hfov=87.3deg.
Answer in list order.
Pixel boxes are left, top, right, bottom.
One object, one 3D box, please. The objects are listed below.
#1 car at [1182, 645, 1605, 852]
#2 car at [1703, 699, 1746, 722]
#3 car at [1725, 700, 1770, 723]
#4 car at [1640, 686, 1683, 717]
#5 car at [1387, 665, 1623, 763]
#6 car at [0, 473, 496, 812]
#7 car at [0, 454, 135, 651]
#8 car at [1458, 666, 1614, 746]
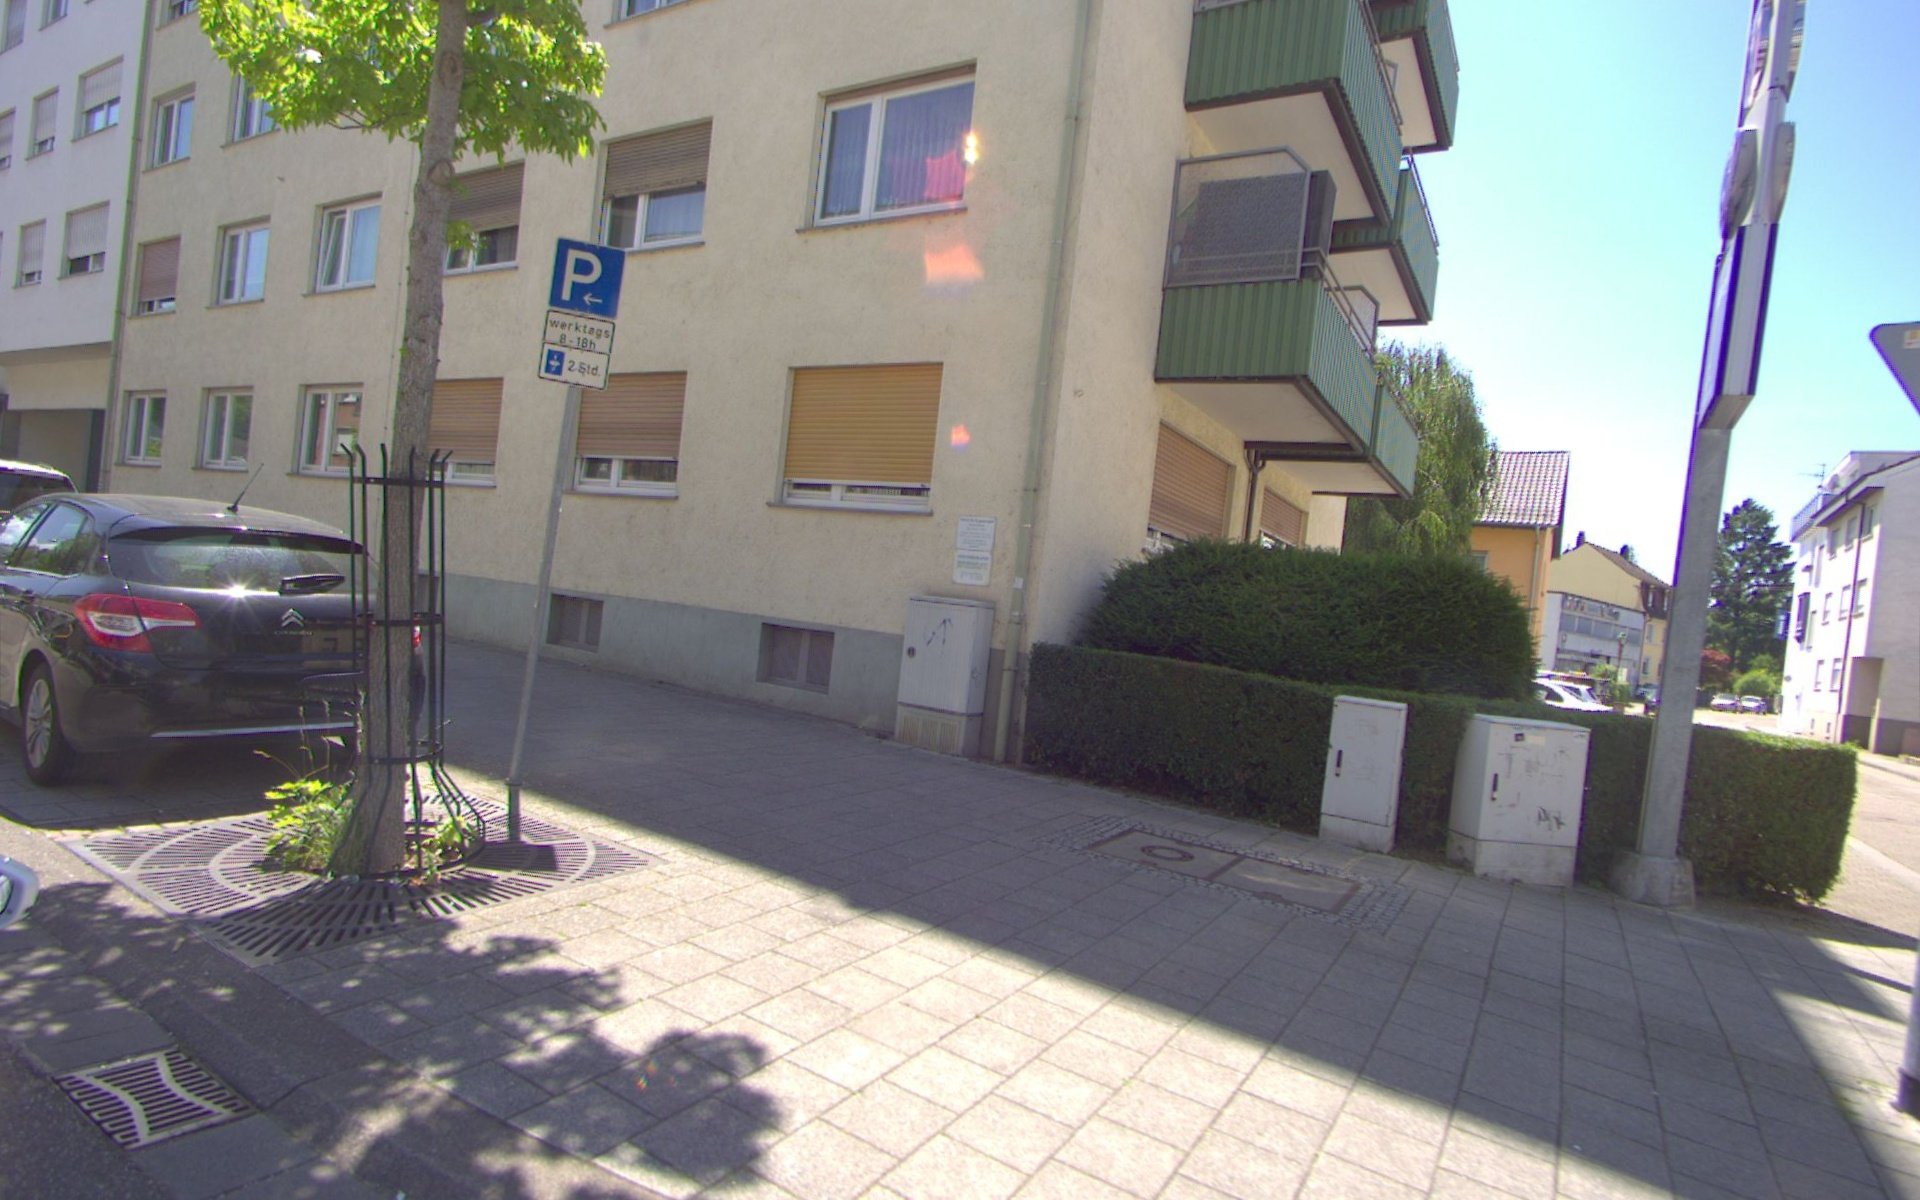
[{"bbox_3d":[4.595,1.471,10.980,3.787,1.434,1.841,7,0,27],"label":"car"},{"bbox_3d":[63.098,9.131,82.990,4.558,1.518,1.976,8,-1,-43],"label":"car"},{"bbox_3d":[68.738,9.760,87.766,4.406,1.518,1.979,8,0,-38],"label":"car"},{"bbox_3d":[40.714,5.879,58.436,1.793,1.518,3.878,7,0,34],"label":"car"},{"bbox_3d":[12.541,2.564,23.331,4.510,1.479,1.996,7,0,31],"label":"car"},{"bbox_3d":[-5.202,0.055,6.469,4.471,1.456,1.897,7,0,34],"label":"car"},{"bbox_3d":[-10.232,-0.648,9.741,4.611,1.696,1.898,7,2,30],"label":"car"},{"bbox_3d":[16.772,3.046,29.487,3.707,1.707,1.696,7,0,27],"label":"car"}]
